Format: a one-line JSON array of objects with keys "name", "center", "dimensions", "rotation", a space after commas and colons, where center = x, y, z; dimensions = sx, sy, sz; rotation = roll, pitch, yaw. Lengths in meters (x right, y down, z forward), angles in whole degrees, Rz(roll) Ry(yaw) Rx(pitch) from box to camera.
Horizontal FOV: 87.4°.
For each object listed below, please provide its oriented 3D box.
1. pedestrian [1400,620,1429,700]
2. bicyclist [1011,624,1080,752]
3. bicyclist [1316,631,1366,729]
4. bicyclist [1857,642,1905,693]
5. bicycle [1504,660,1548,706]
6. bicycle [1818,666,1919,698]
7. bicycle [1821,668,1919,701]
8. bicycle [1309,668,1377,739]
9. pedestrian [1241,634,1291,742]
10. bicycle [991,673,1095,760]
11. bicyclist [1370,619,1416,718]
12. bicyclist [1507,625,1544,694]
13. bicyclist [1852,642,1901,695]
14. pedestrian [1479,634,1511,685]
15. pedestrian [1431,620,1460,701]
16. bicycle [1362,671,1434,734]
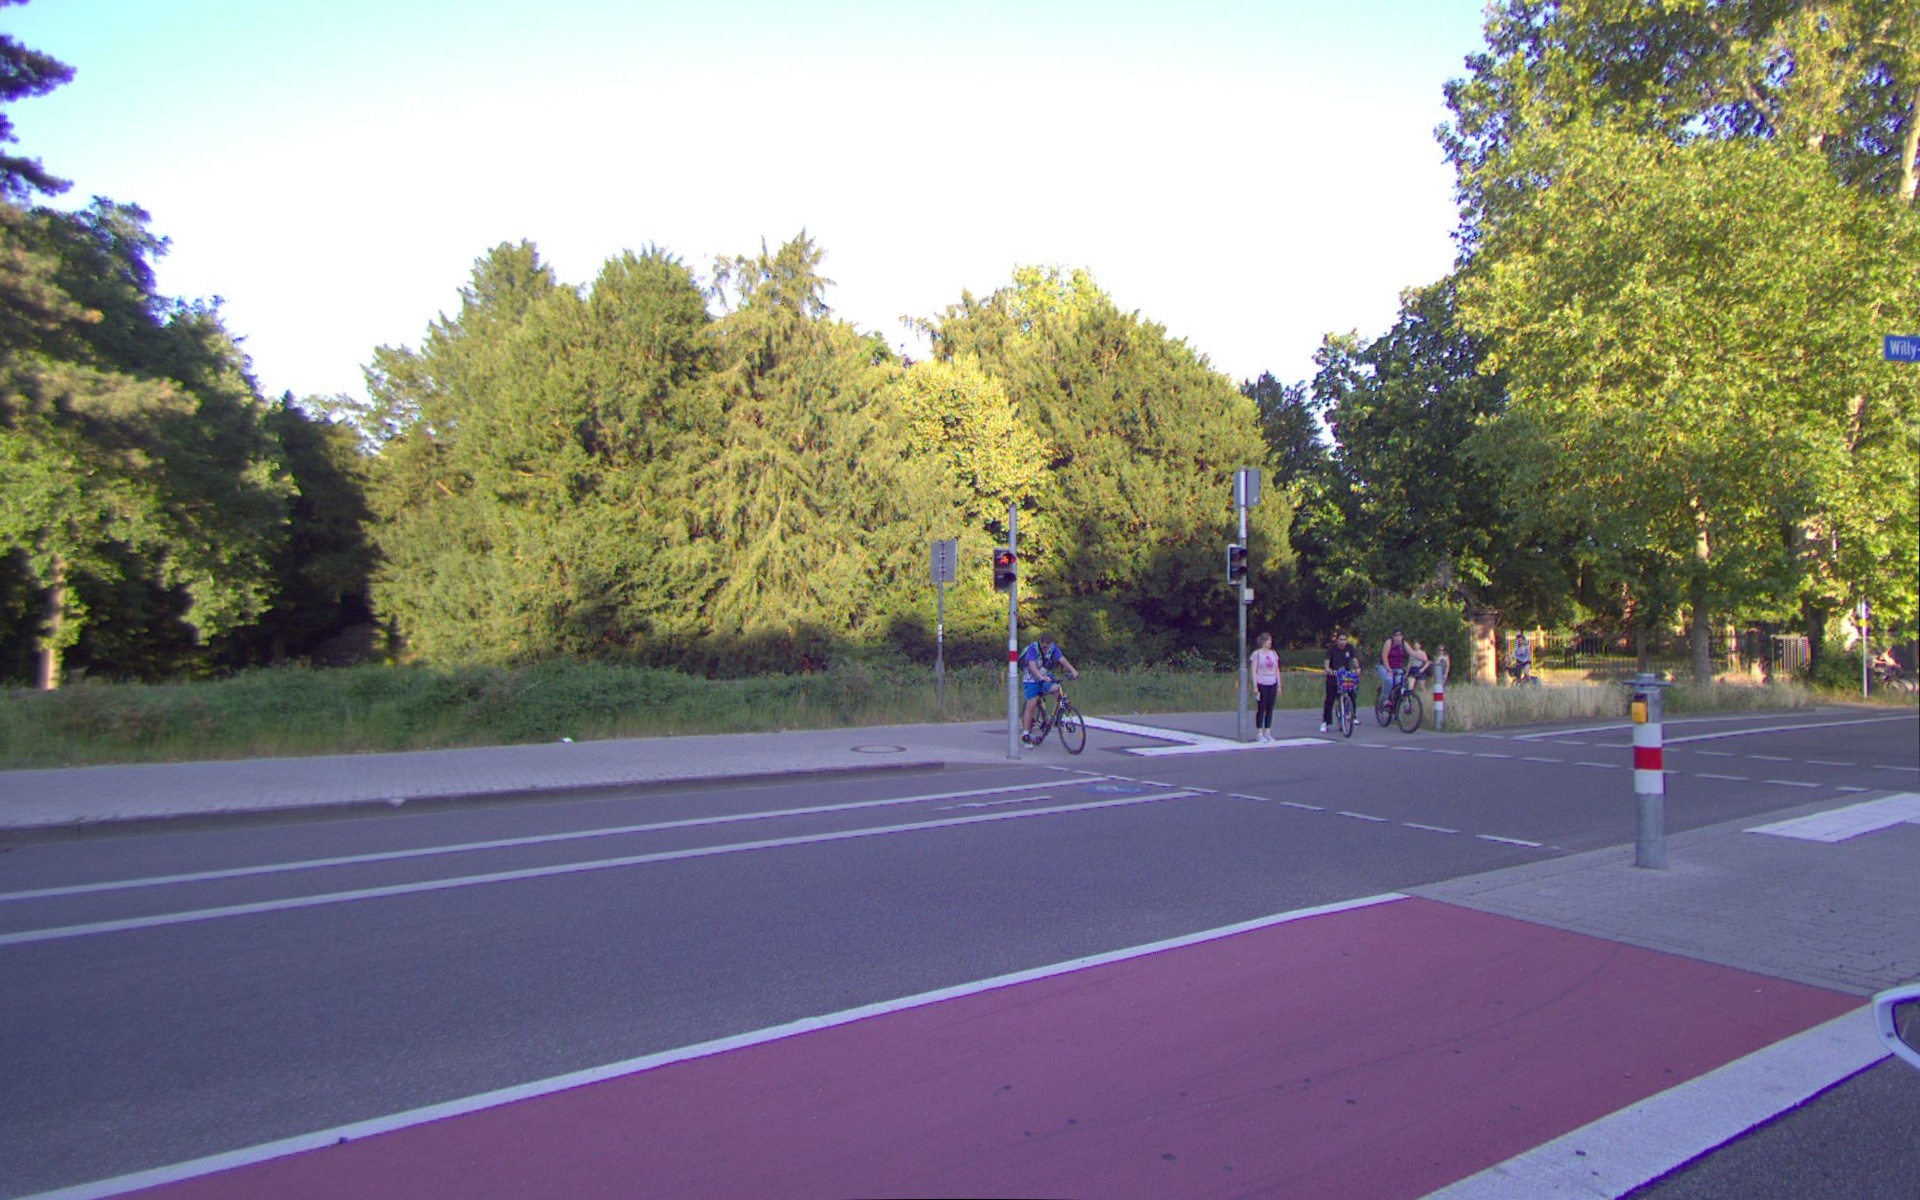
[{"name": "pedestrian", "center": [11.822, 1.535, 26.122], "dimensions": [0.638, 2.040, 0.606], "rotation": [0, -1, 22]}, {"name": "bicyclist", "center": [1.275, 1.284, 14.952], "dimensions": [0.730, 1.848, 0.705], "rotation": [2, -2, -34]}, {"name": "bicyclist", "center": [6.679, 1.392, 17.636], "dimensions": [0.618, 1.671, 0.640], "rotation": [0, -2, 1]}, {"name": "bicyclist", "center": [30.588, 2.225, 33.364], "dimensions": [0.743, 1.652, 0.954], "rotation": [1, -2, -29]}, {"name": "bicycle", "center": [14.661, 2.120, 26.000], "dimensions": [0.730, 1.046, 2.289], "rotation": [0, -1, 36]}, {"name": "bicycle", "center": [30.415, 2.732, 33.654], "dimensions": [0.765, 0.936, 2.420], "rotation": [1, -2, -29]}, {"name": "bicycle", "center": [29.234, 2.671, 32.163], "dimensions": [0.765, 0.936, 2.420], "rotation": [1, -2, -29]}, {"name": "bicycle", "center": [6.678, 1.785, 17.602], "dimensions": [0.620, 1.126, 1.569], "rotation": [0, -2, 1]}, {"name": "pedestrian", "center": [4.986, 1.410, 16.401], "dimensions": [0.492, 1.718, 0.604], "rotation": [1, -2, -28]}, {"name": "bicycle", "center": [1.188, 1.676, 14.909], "dimensions": [0.761, 1.115, 2.114], "rotation": [1, -2, -19]}, {"name": "bicyclist", "center": [8.030, 1.262, 18.632], "dimensions": [0.564, 1.803, 0.640], "rotation": [0, -2, 1]}, {"name": "bicyclist", "center": [14.635, 1.521, 25.975], "dimensions": [0.745, 1.751, 0.941], "rotation": [0, -1, 35]}, {"name": "bicyclist", "center": [29.282, 2.174, 32.108], "dimensions": [0.743, 1.652, 0.954], "rotation": [1, -2, -29]}, {"name": "pedestrian", "center": [21.949, 2.419, 41.219], "dimensions": [1.067, 2.040, 0.755], "rotation": [1, -1, -36]}, {"name": "pedestrian", "center": [12.455, 1.550, 25.781], "dimensions": [0.584, 2.040, 0.642], "rotation": [0, -1, 20]}, {"name": "bicycle", "center": [8.024, 1.851, 18.472], "dimensions": [0.568, 1.043, 1.772], "rotation": [0, -2, 1]}]
